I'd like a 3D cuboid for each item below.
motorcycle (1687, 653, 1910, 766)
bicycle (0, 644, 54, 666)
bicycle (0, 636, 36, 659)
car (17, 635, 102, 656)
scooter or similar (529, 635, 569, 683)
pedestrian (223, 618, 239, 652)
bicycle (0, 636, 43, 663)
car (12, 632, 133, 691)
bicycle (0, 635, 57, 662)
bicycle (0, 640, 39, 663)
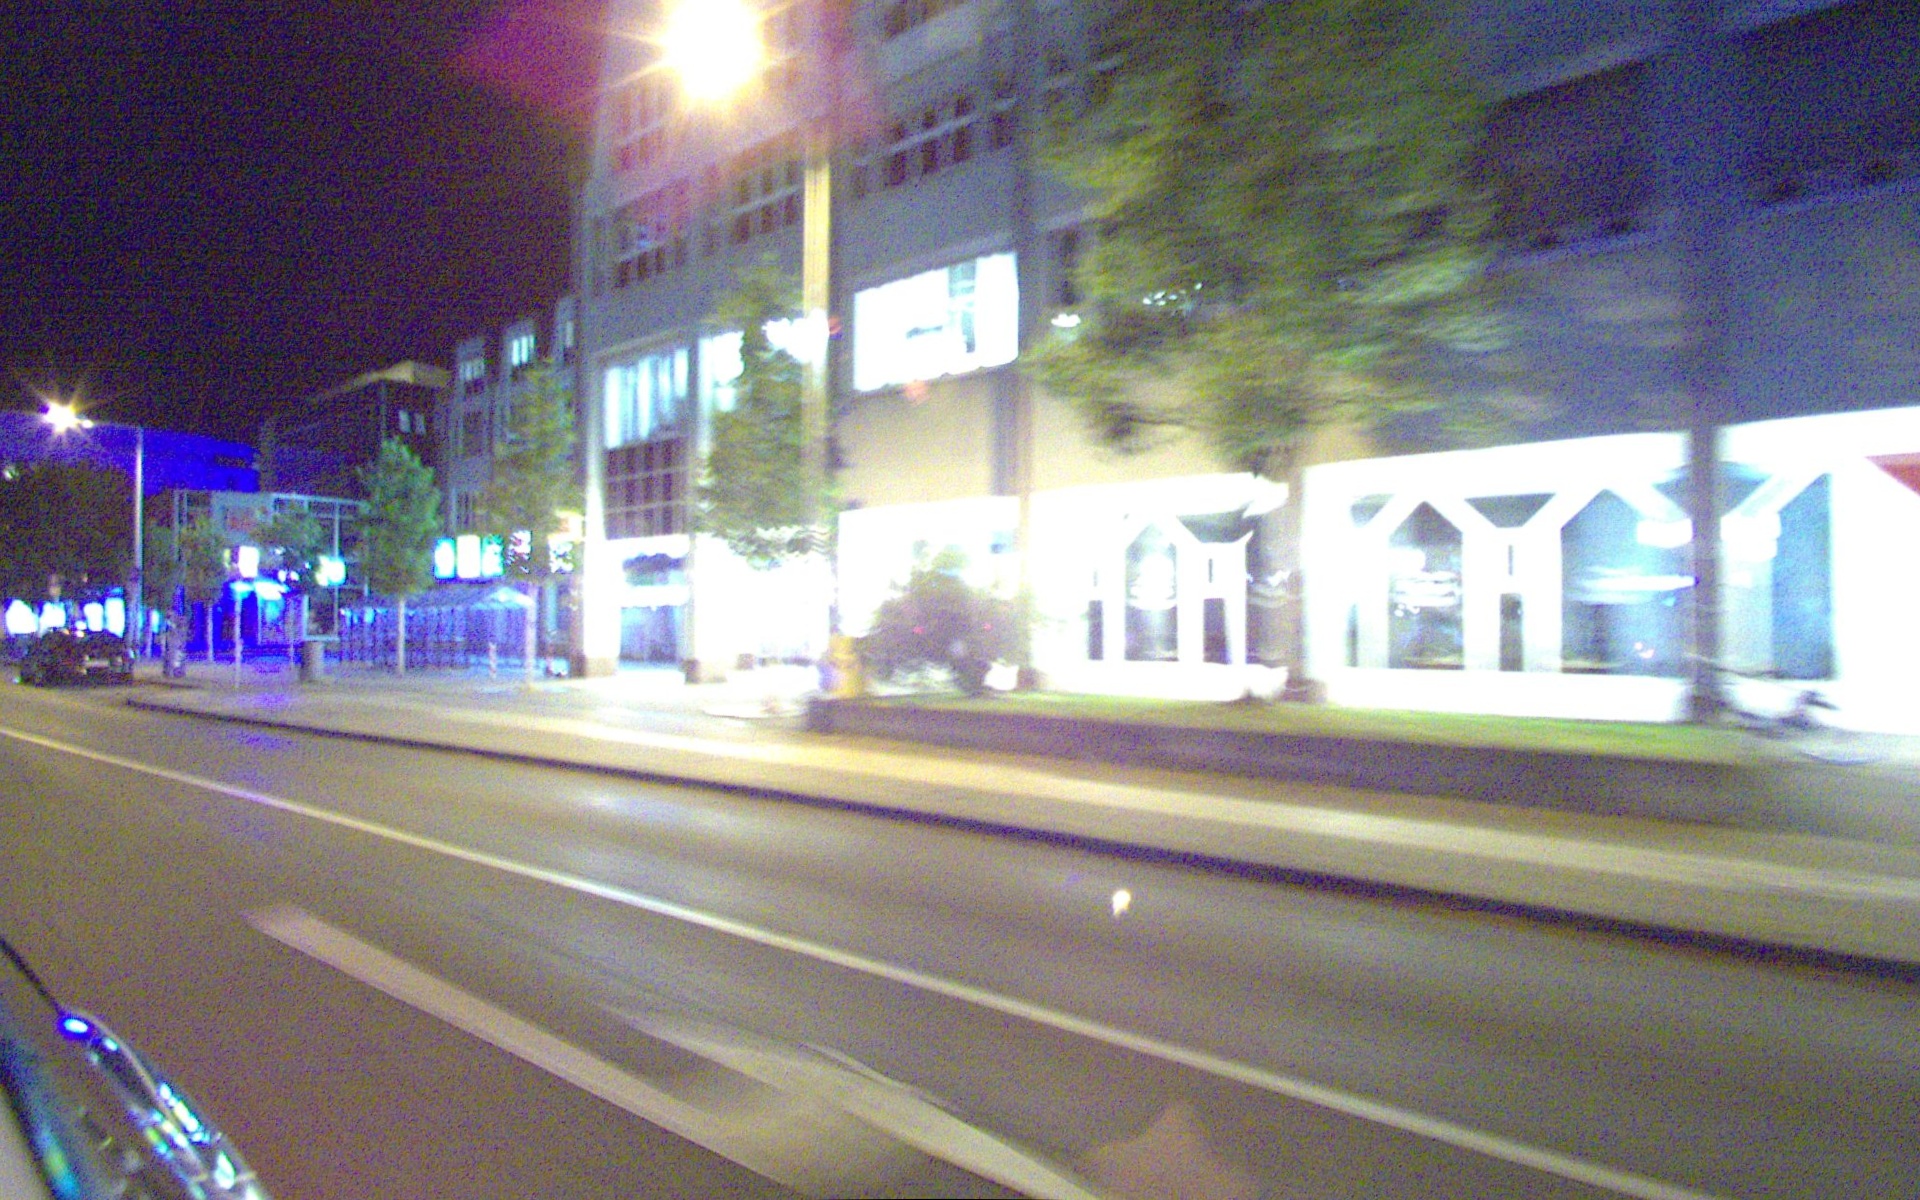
[{"bbox_3d":[8.503,1.073,10.332,0.472,1.028,1.677,1,-2,-41],"label":"motorcycle"},{"bbox_3d":[-42.951,2.526,46.533,0.501,0.975,1.833,-2,-3,38],"label":"bicycle"},{"bbox_3d":[-45.117,2.251,48.019,0.532,1.007,1.833,-2,-1,38],"label":"bicycle"},{"bbox_3d":[-63.766,3.169,71.712,1.801,1.408,4.287,-1,-2,38],"label":"car"},{"bbox_3d":[-10.630,1.513,26.187,1.343,1.230,0.383,-2,-3,42],"label":"scooter or similar"},{"bbox_3d":[-35.836,1.721,49.749,0.631,1.649,0.473,-2,-3,40],"label":"pedestrian"},{"bbox_3d":[-43.846,2.287,46.950,0.532,1.263,1.833,-2,-3,38],"label":"bicycle"},{"bbox_3d":[-23.627,1.578,26.900,4.491,1.424,1.724,-2,-2,40],"label":"car"},{"bbox_3d":[-42.502,2.208,46.204,0.532,1.175,1.833,-2,-3,38],"label":"bicycle"},{"bbox_3d":[-44.421,2.412,47.415,0.532,1.043,1.833,-2,-1,38],"label":"bicycle"}]
